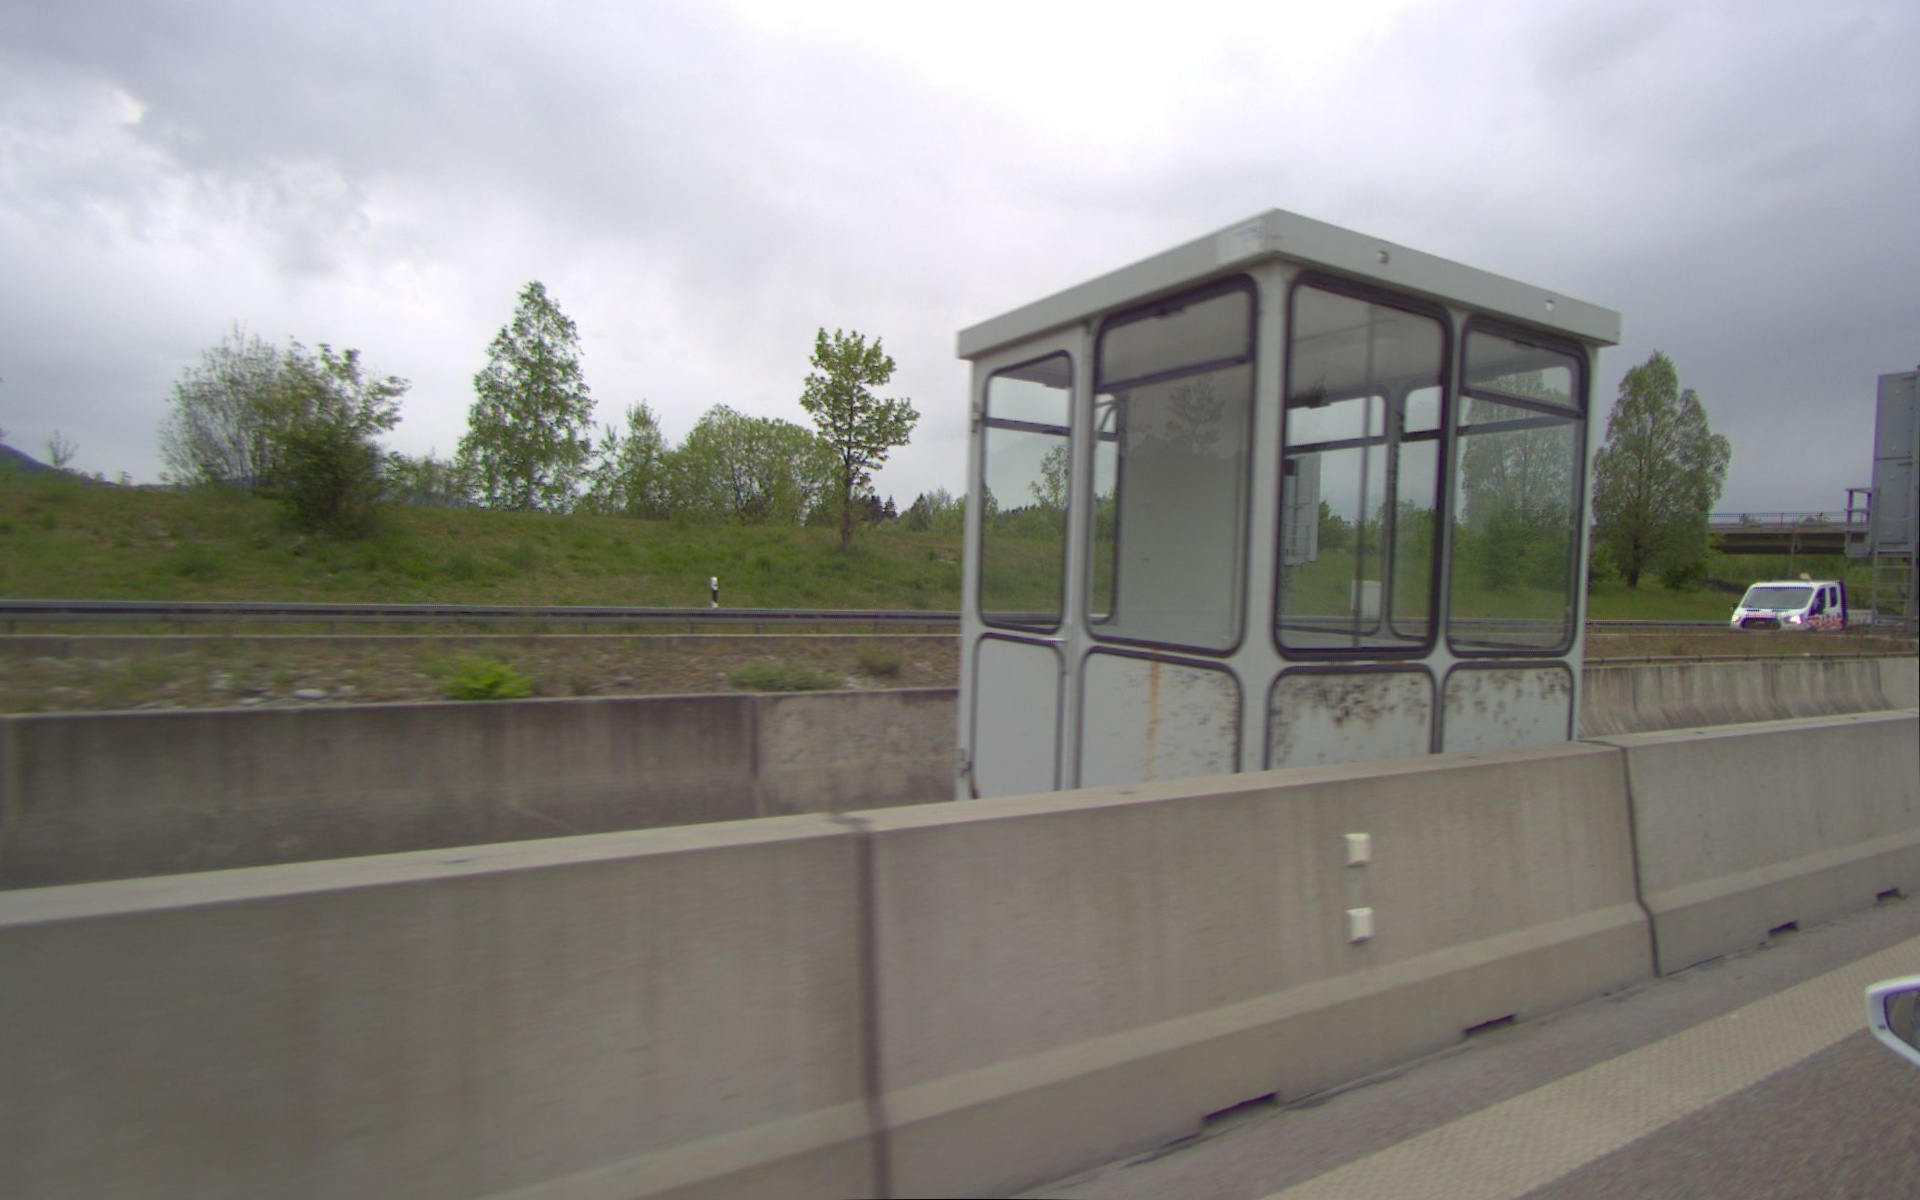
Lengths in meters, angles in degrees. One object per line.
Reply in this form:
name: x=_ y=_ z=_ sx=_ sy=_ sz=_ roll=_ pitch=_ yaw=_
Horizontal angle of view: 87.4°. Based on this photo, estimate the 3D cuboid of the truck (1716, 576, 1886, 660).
truck: x=27.286 y=0.567 z=32.539 sx=5.918 sy=2.512 sz=2.345 roll=1 pitch=1 yaw=-31
